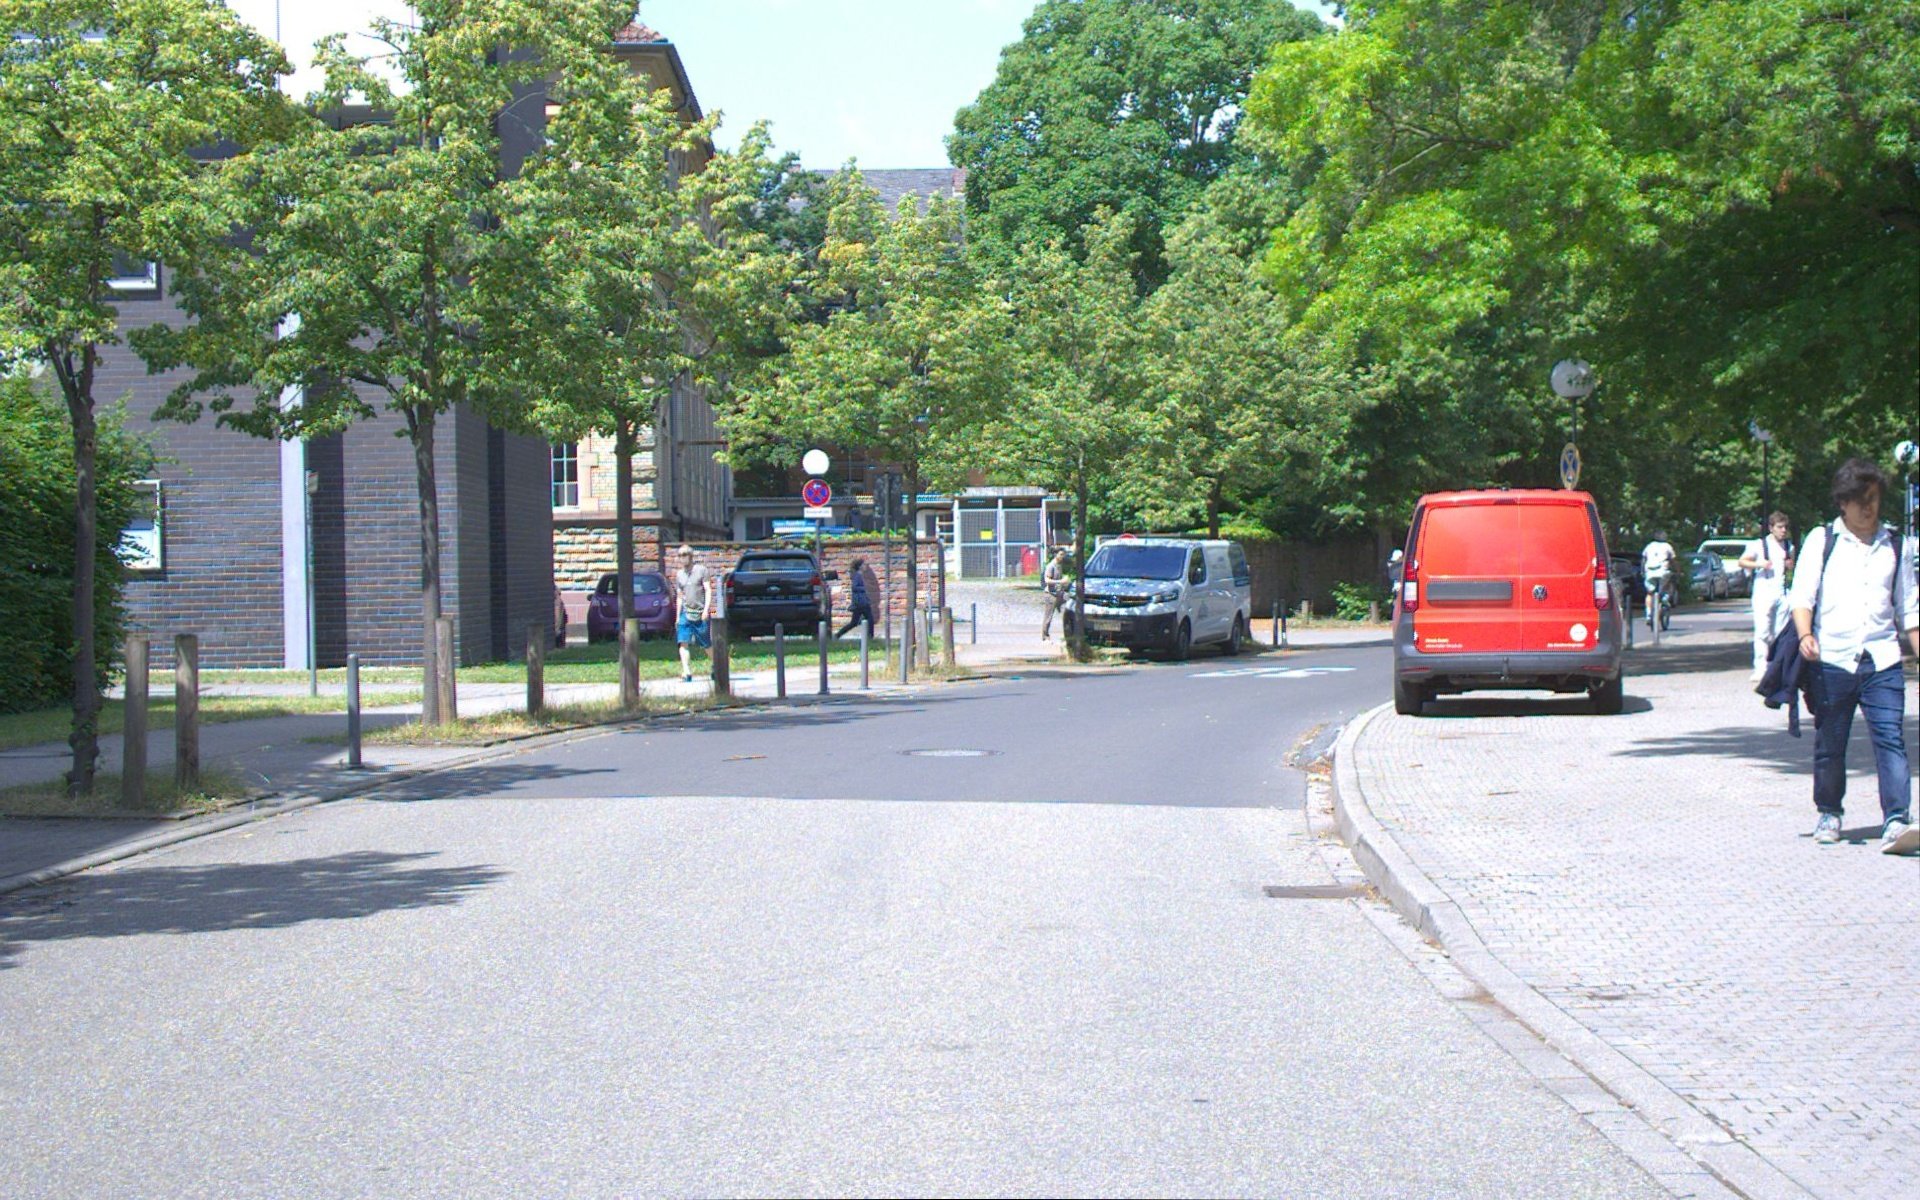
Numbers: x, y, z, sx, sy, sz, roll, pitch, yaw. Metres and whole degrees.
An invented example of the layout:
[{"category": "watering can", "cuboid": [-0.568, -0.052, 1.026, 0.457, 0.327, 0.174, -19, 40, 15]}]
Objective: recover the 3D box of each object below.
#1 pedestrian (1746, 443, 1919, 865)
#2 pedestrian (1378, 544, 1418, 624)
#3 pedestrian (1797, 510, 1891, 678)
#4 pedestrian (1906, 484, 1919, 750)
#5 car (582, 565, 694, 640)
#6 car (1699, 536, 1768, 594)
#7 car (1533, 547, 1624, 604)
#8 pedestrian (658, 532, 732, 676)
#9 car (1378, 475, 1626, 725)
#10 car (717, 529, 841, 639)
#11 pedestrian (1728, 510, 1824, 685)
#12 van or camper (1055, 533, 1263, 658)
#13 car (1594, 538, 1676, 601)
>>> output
[{"category": "pedestrian", "cuboid": [3.872, 0.224, 14.954, 0.694, 1.775, 0.787, -1, 1, 1]}, {"category": "pedestrian", "cuboid": [9.262, -0.340, 72.710, 0.626, 1.657, 0.603, -1, 0, -15]}, {"category": "pedestrian", "cuboid": [9.062, -0.065, 35.234, 0.743, 1.704, 0.564, -1, 0, -36]}, {"category": "pedestrian", "cuboid": [6.264, 0.096, 21.351, 0.713, 1.626, 0.711, -1, 0, 16]}, {"category": "car", "cuboid": [-5.939, 0.021, 63.786, 1.817, 1.319, 3.768, -1, 1, -2]}, {"category": "car", "cuboid": [24.725, -1.135, 109.813, 1.617, 1.809, 3.996, -1, 1, 20]}, {"category": "car", "cuboid": [15.772, -0.640, 87.571, 1.617, 1.383, 3.996, -1, 1, 20]}, {"category": "pedestrian", "cuboid": [-3.289, 0.046, 42.712, 0.584, 1.758, 0.910, -1, 1, 17]}, {"category": "car", "cuboid": [4.564, -0.032, 28.982, 1.849, 1.885, 4.888, -1, 1, 9]}, {"category": "car", "cuboid": [-3.362, -0.312, 63.838, 2.174, 1.919, 5.187, -1, 1, -3]}, {"category": "pedestrian", "cuboid": [8.566, -0.029, 36.093, 0.721, 1.815, 0.630, -1, 0, -36]}, {"category": "van or camper", "cuboid": [3.286, -0.120, 55.635, 1.955, 1.916, 5.415, 0, 1, 19]}, {"category": "car", "cuboid": [18.808, -0.860, 95.699, 1.617, 1.673, 3.996, -1, 1, 20]}]
